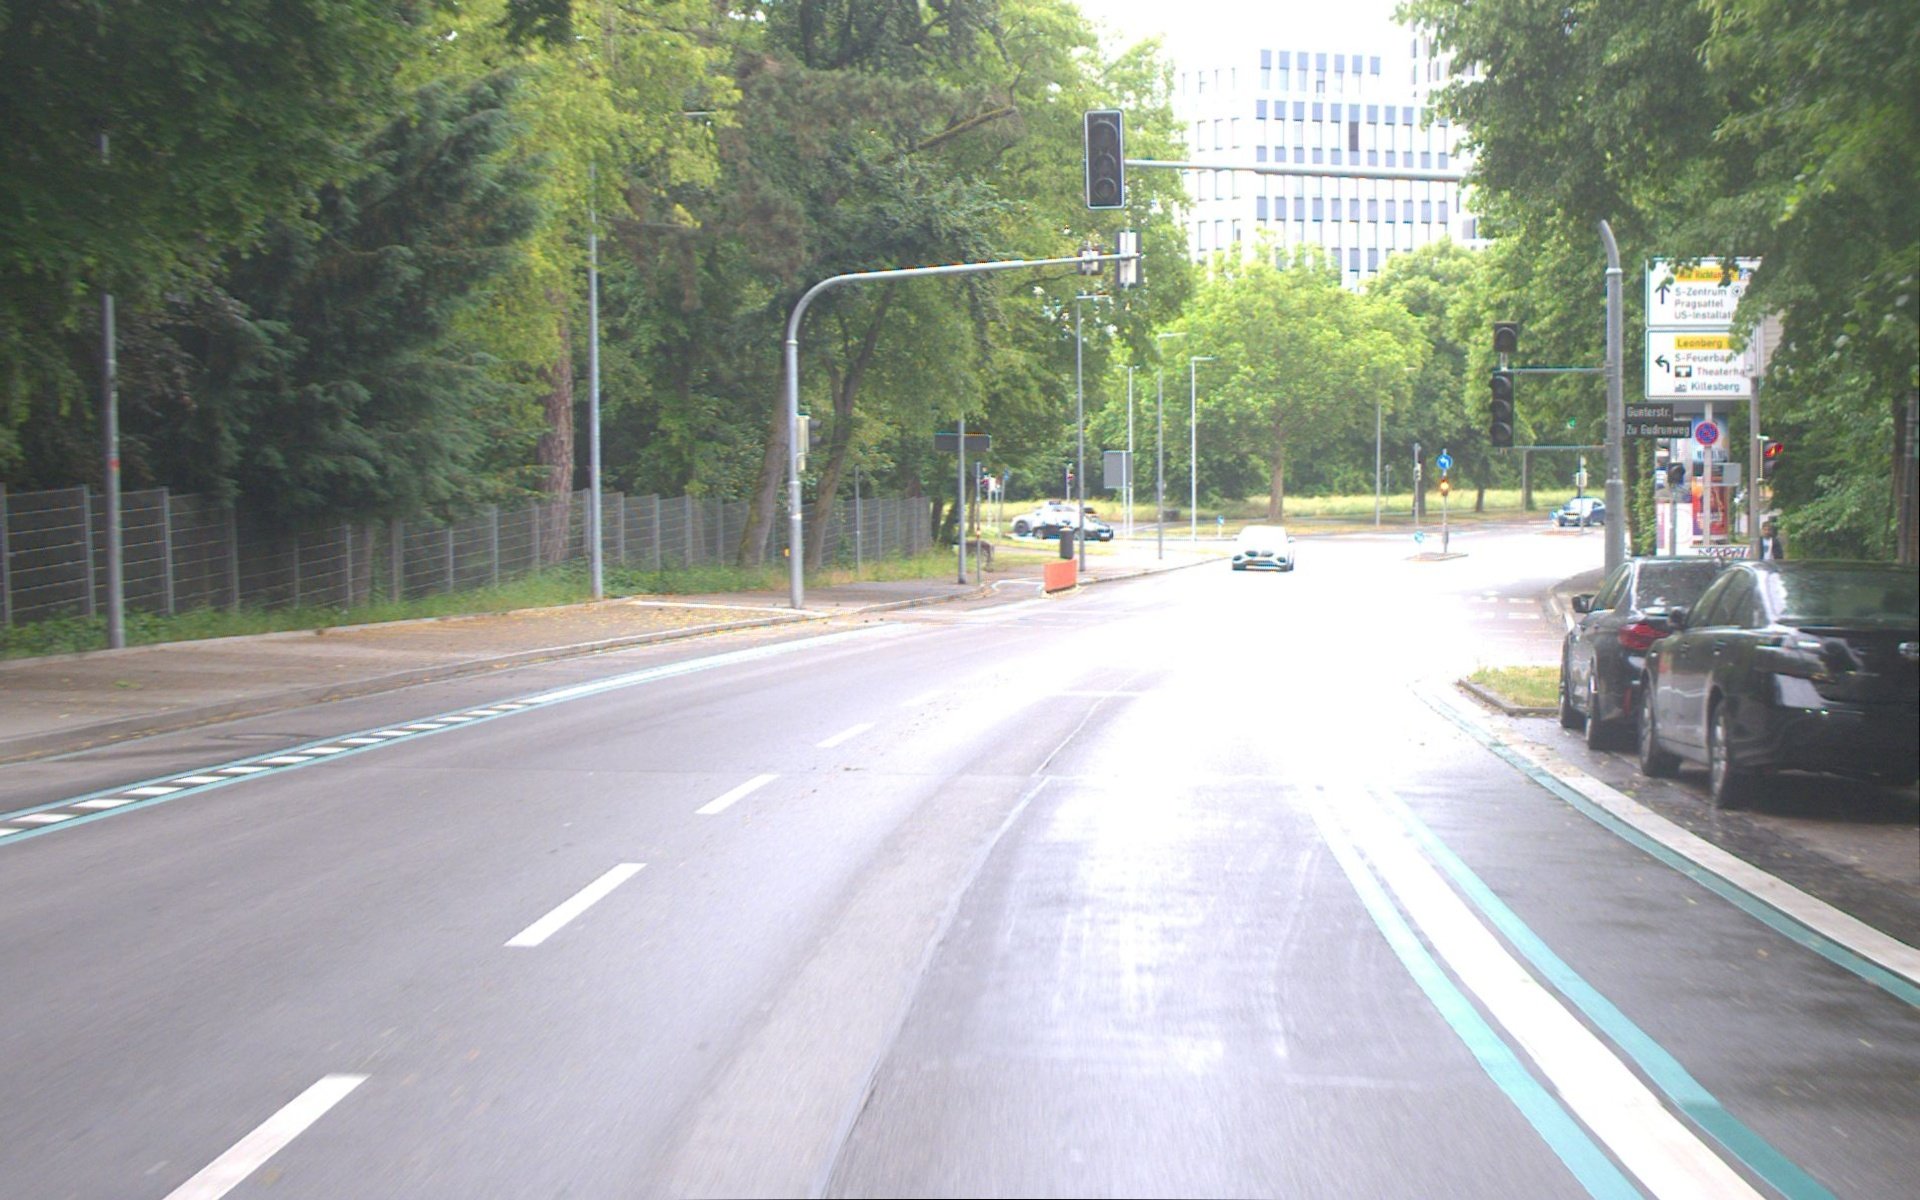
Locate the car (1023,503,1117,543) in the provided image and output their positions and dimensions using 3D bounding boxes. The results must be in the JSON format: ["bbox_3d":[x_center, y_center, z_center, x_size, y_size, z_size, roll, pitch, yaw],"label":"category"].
[{"bbox_3d":[5.104,-3.569,159.470,3.990,1.437,1.606,7,4,14],"label":"car"}]

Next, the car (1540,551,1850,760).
[{"bbox_3d":[5.664,0.361,27.019,1.758,1.435,4.857,2,1,5],"label":"car"}]

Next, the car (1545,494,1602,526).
[{"bbox_3d":[33.044,-4.860,185.117,1.996,1.679,3.995,1,1,25],"label":"car"}]

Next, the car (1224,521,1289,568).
[{"bbox_3d":[10.079,-1.905,116.720,1.844,1.452,4.499,1,2,9],"label":"car"}]

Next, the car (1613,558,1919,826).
[{"bbox_3d":[5.268,0.488,21.109,1.699,1.415,4.763,2,1,2],"label":"car"}]
